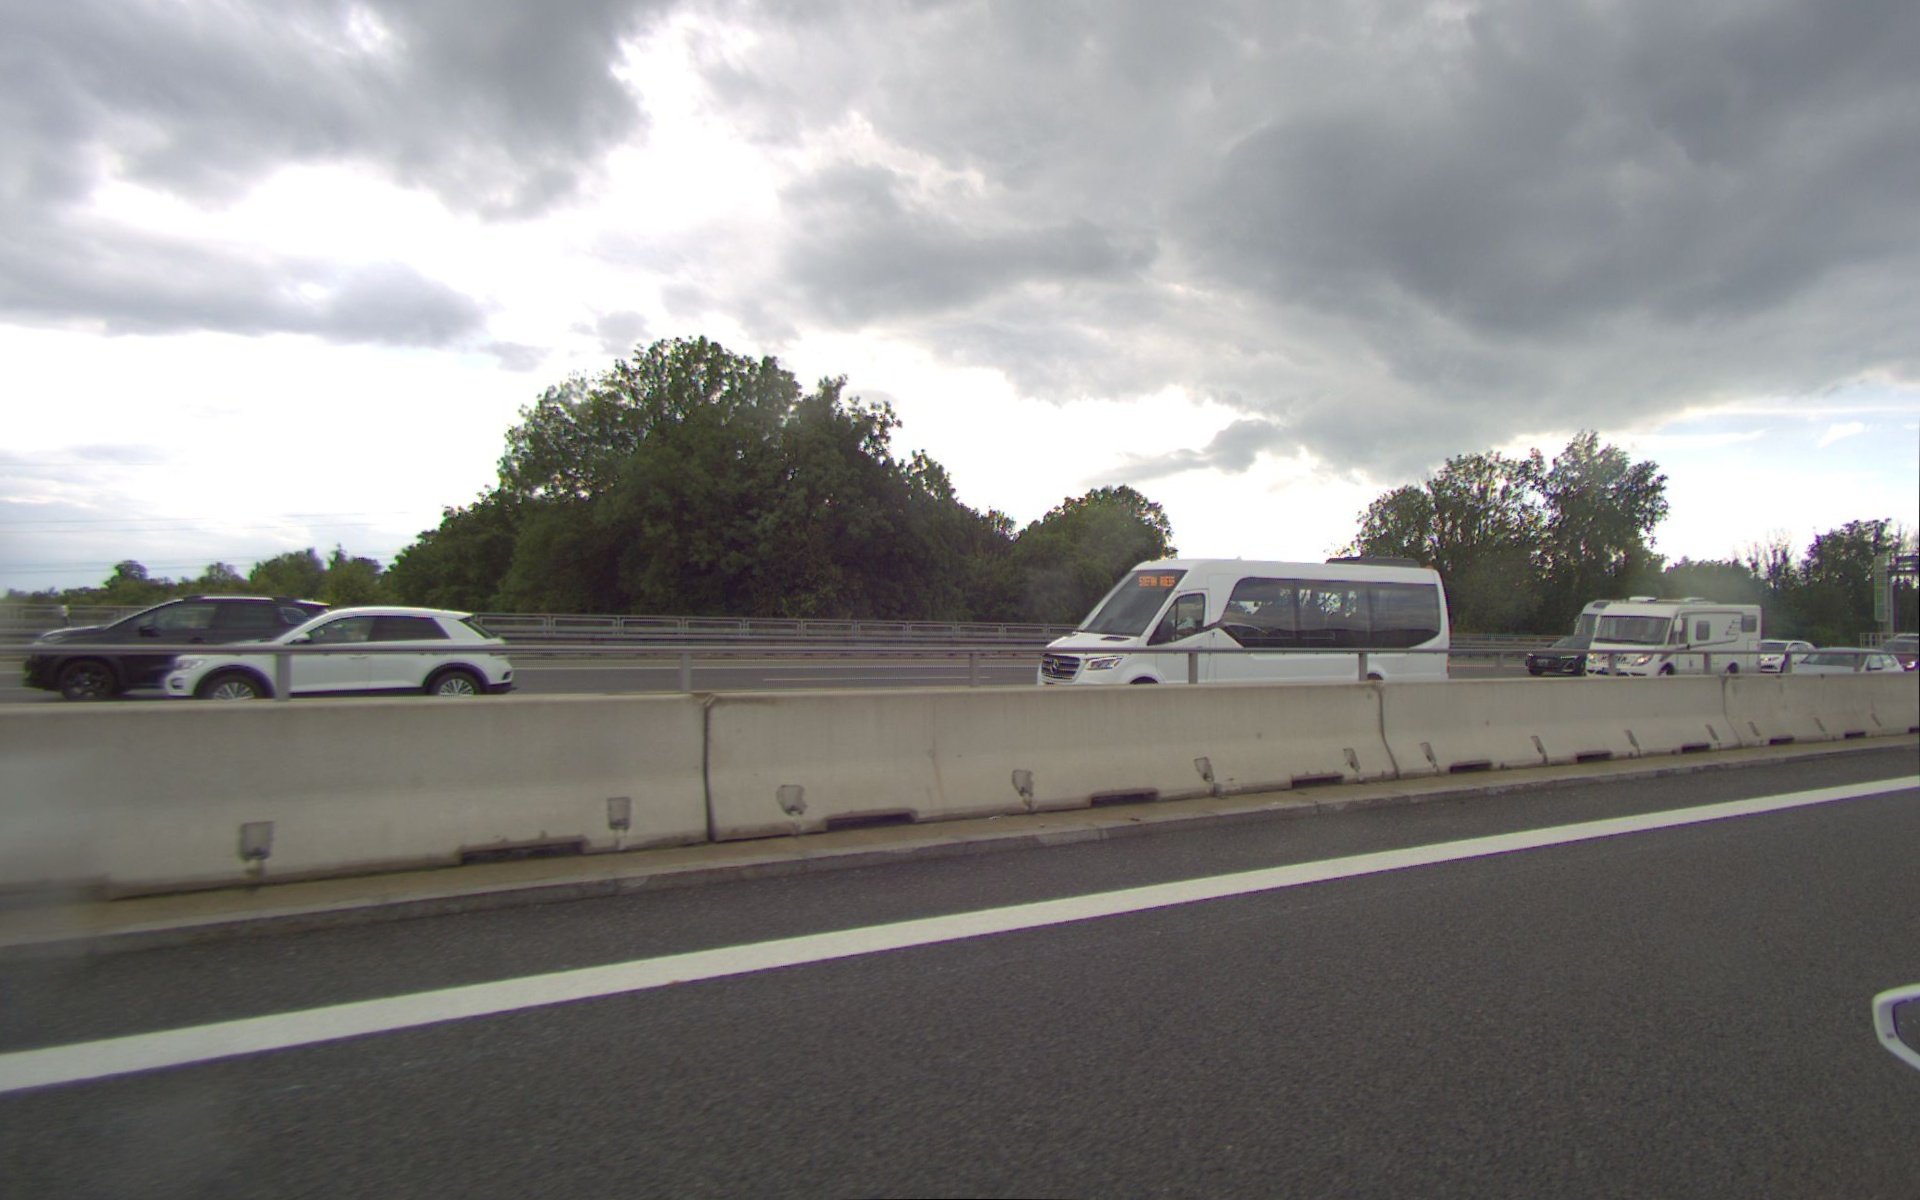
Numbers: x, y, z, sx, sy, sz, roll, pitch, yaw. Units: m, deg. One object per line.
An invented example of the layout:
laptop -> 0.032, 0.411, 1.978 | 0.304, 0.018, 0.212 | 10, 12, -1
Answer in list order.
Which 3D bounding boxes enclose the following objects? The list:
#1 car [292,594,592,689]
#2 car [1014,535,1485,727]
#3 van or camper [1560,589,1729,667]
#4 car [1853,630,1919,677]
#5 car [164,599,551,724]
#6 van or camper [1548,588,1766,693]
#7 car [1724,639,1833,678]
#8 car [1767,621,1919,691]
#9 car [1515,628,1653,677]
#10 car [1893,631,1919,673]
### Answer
car -> -8.958, 0.732, 17.700 | 4.462, 1.484, 1.716 | 2, 0, -27
car -> 5.383, 0.477, 17.723 | 9.049, 2.786, 2.222 | 0, 0, -29
van or camper -> 30.454, 1.273, 44.562 | 8.374, 3.164, 2.613 | 2, 0, -29
car -> 37.507, 2.121, 39.735 | 4.462, 1.668, 1.716 | 2, 0, -27
car -> -8.428, 0.830, 14.501 | 4.465, 1.555, 2.051 | 2, -1, -29
van or camper -> 22.043, 1.275, 31.658 | 7.269, 2.990, 2.613 | 2, 0, -29
car -> 34.489, 2.452, 42.302 | 4.955, 1.475, 1.716 | 2, 0, -27
car -> 23.825, 1.501, 26.931 | 4.462, 1.668, 1.716 | 2, 0, -27
car -> 22.103, 1.859, 35.555 | 4.955, 1.568, 1.840 | 2, 0, -27
car -> 48.033, 2.596, 49.271 | 5.482, 1.962, 1.680 | 2, 0, -29
